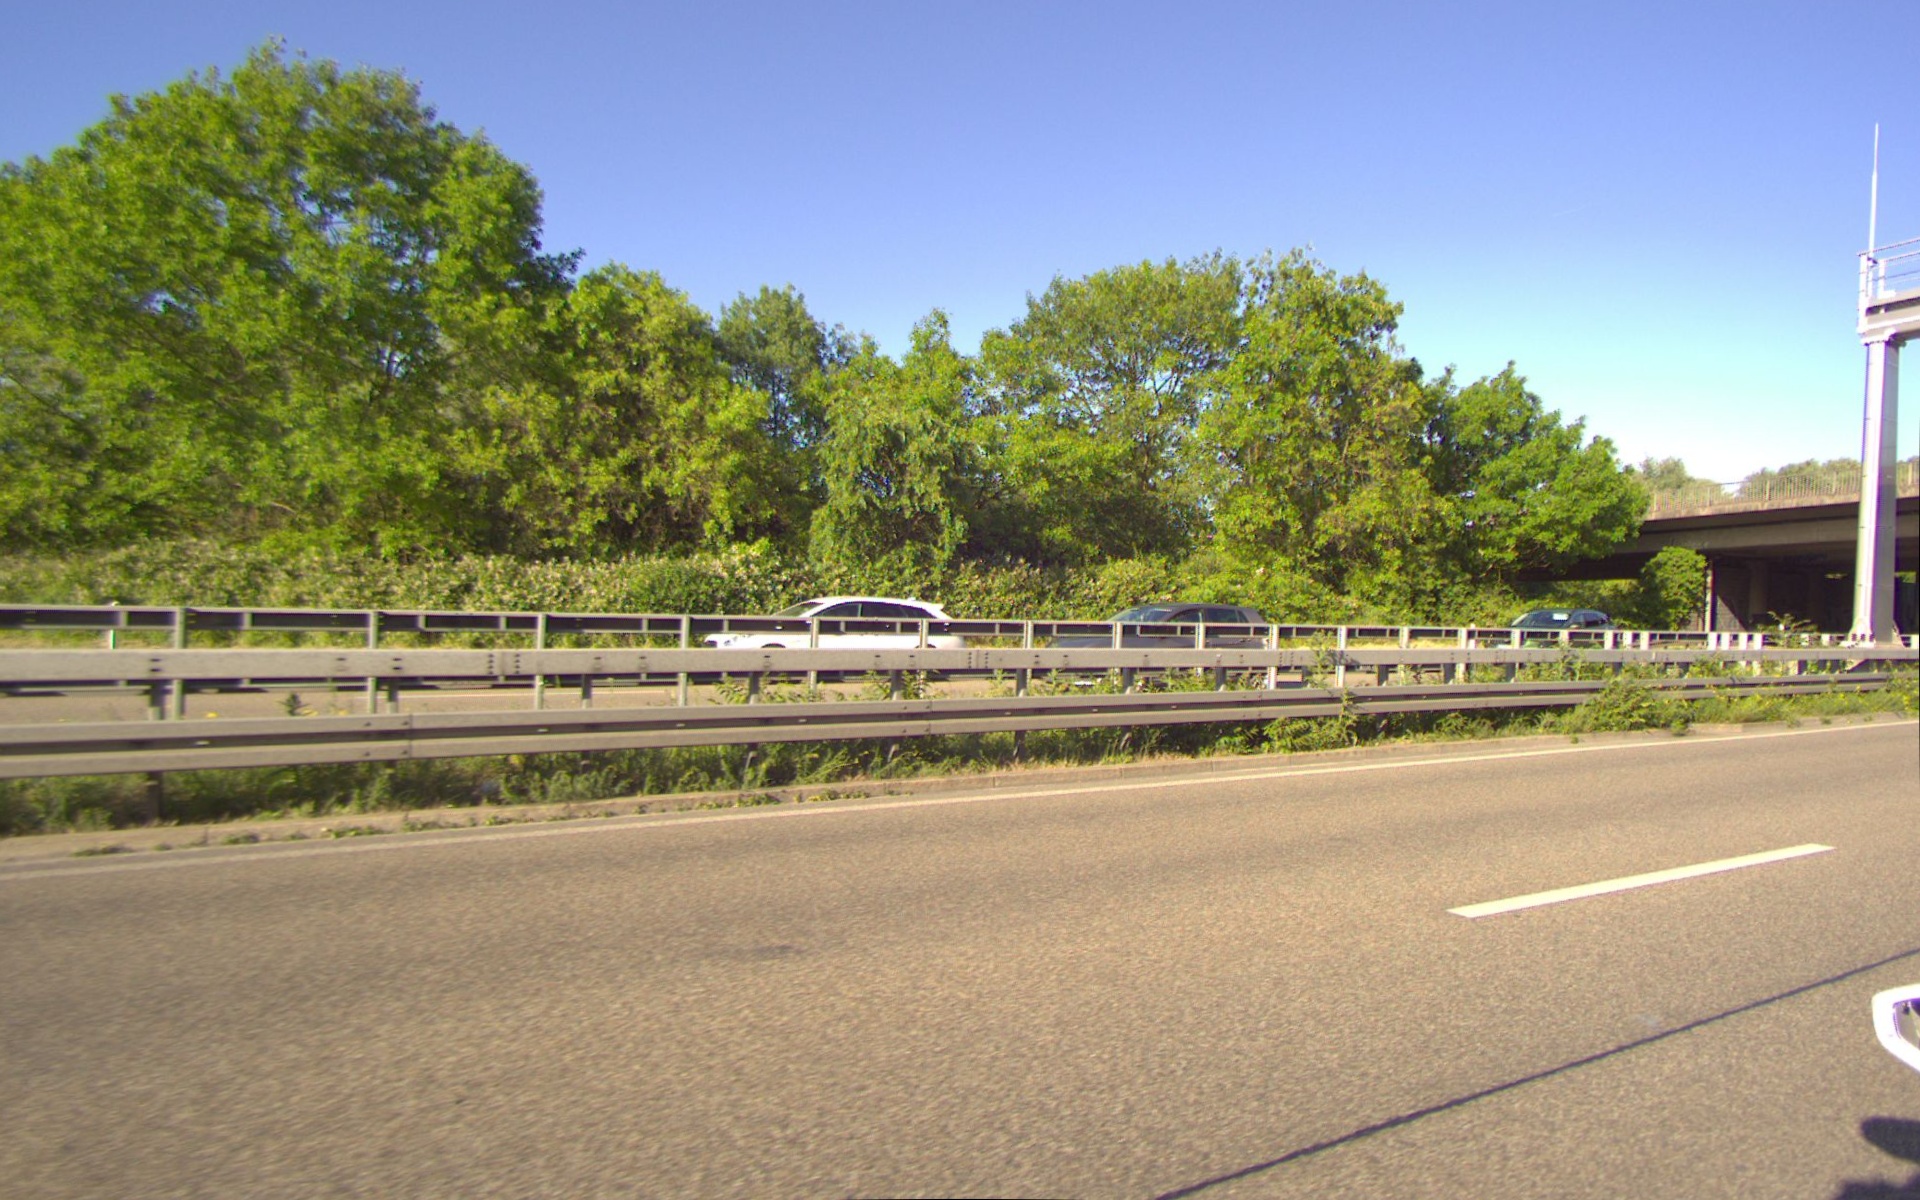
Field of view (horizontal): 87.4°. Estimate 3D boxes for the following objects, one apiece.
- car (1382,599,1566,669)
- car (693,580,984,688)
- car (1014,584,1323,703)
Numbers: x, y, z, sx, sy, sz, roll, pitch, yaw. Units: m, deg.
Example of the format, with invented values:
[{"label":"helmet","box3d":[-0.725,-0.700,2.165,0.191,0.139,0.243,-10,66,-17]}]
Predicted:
[{"label":"car","box3d":[13.632,0.873,26.616,4.660,1.663,1.986,1,1,-27]},{"label":"car","box3d":[-2.104,0.553,17.564,4.660,1.663,1.986,1,1,-27]},{"label":"car","box3d":[3.398,0.650,16.214,4.660,1.663,1.986,1,1,-27]}]
